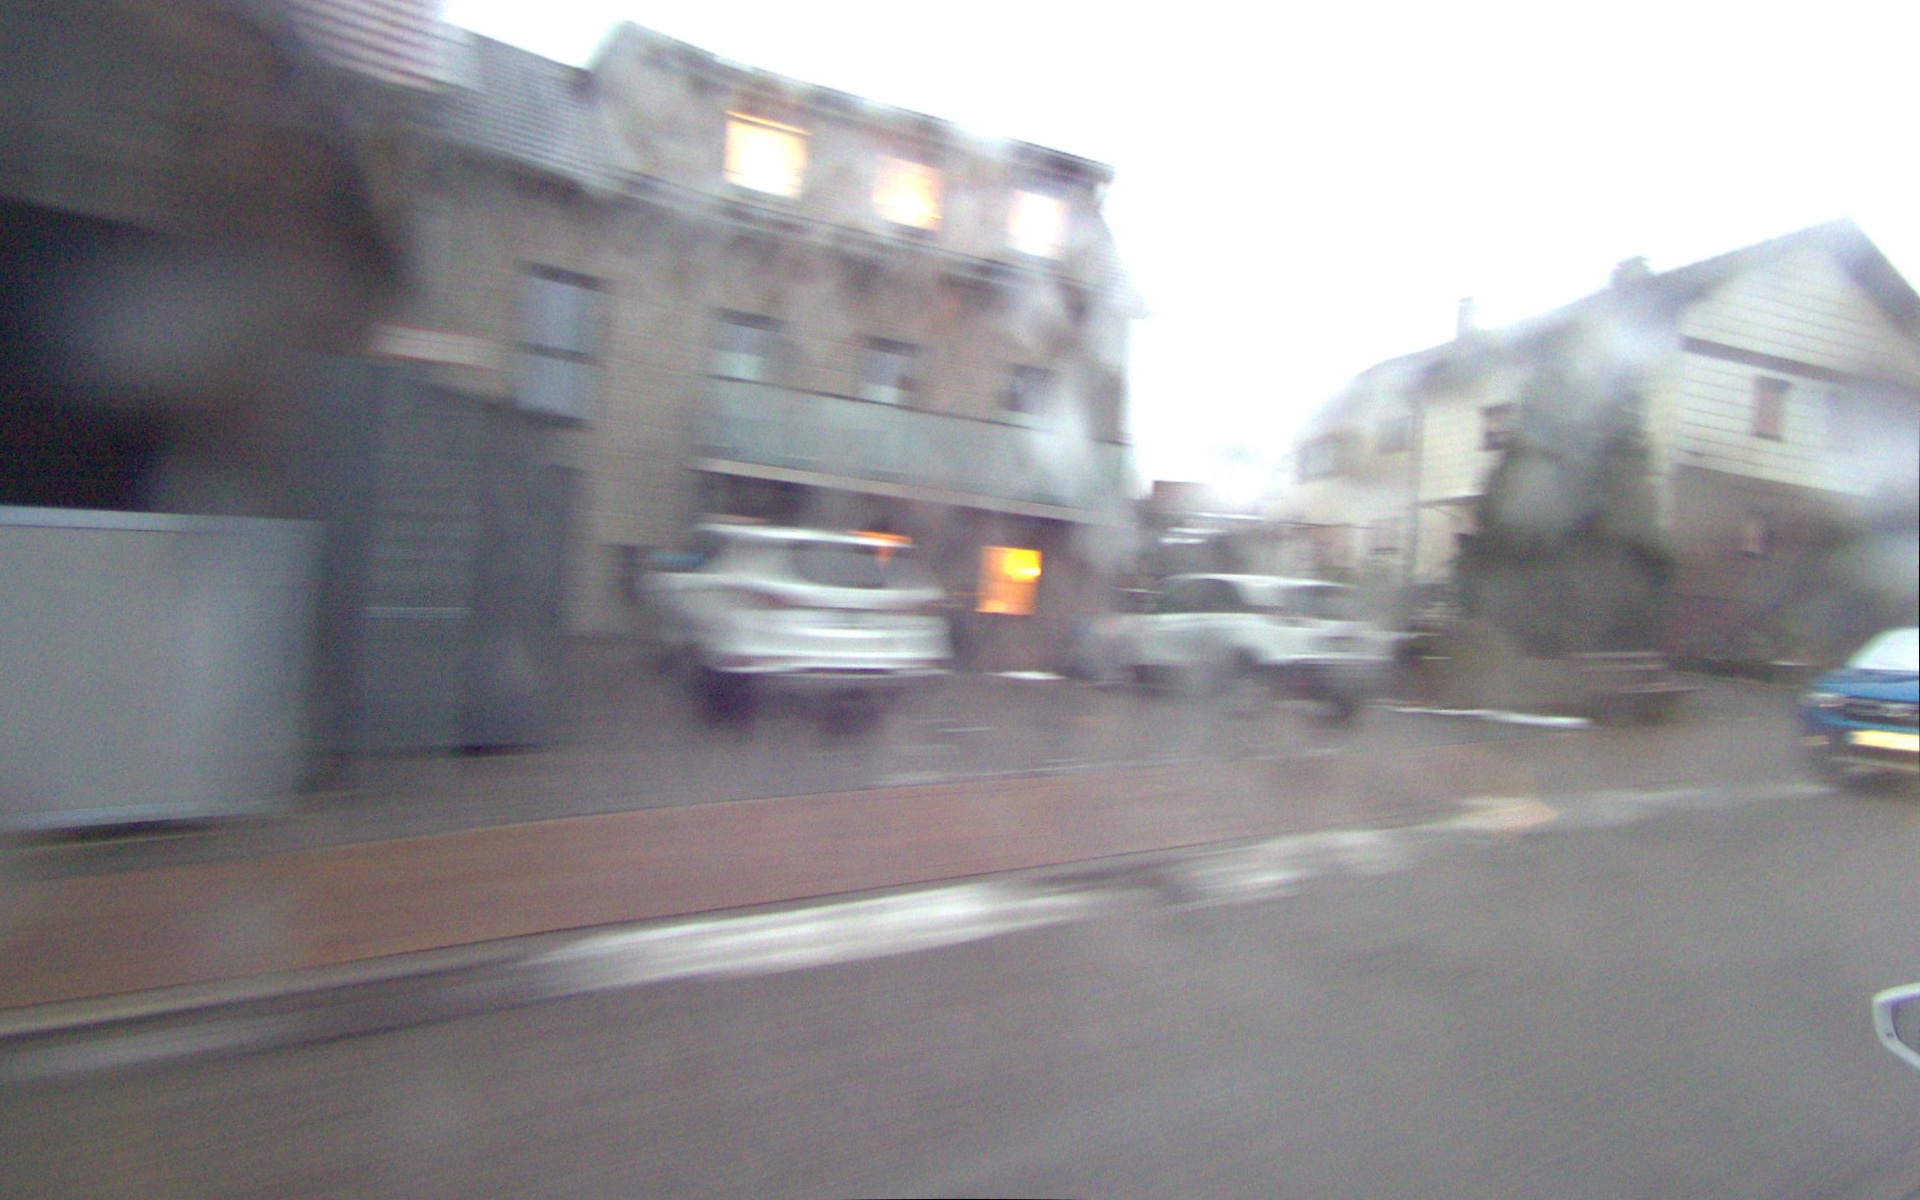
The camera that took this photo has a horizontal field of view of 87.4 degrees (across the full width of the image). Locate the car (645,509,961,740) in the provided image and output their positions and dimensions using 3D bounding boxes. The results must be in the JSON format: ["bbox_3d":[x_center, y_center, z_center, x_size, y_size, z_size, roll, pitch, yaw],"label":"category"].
[{"bbox_3d":[-1.765,0.078,9.888,1.973,1.770,3.974,3,3,-25],"label":"car"}]

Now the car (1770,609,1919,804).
[{"bbox_3d":[9.708,0.976,9.596,4.126,1.605,1.676,3,-1,-30],"label":"car"}]

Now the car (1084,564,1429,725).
[{"bbox_3d":[3.412,0.421,12.375,1.863,1.639,3.974,2,1,-25],"label":"car"}]
